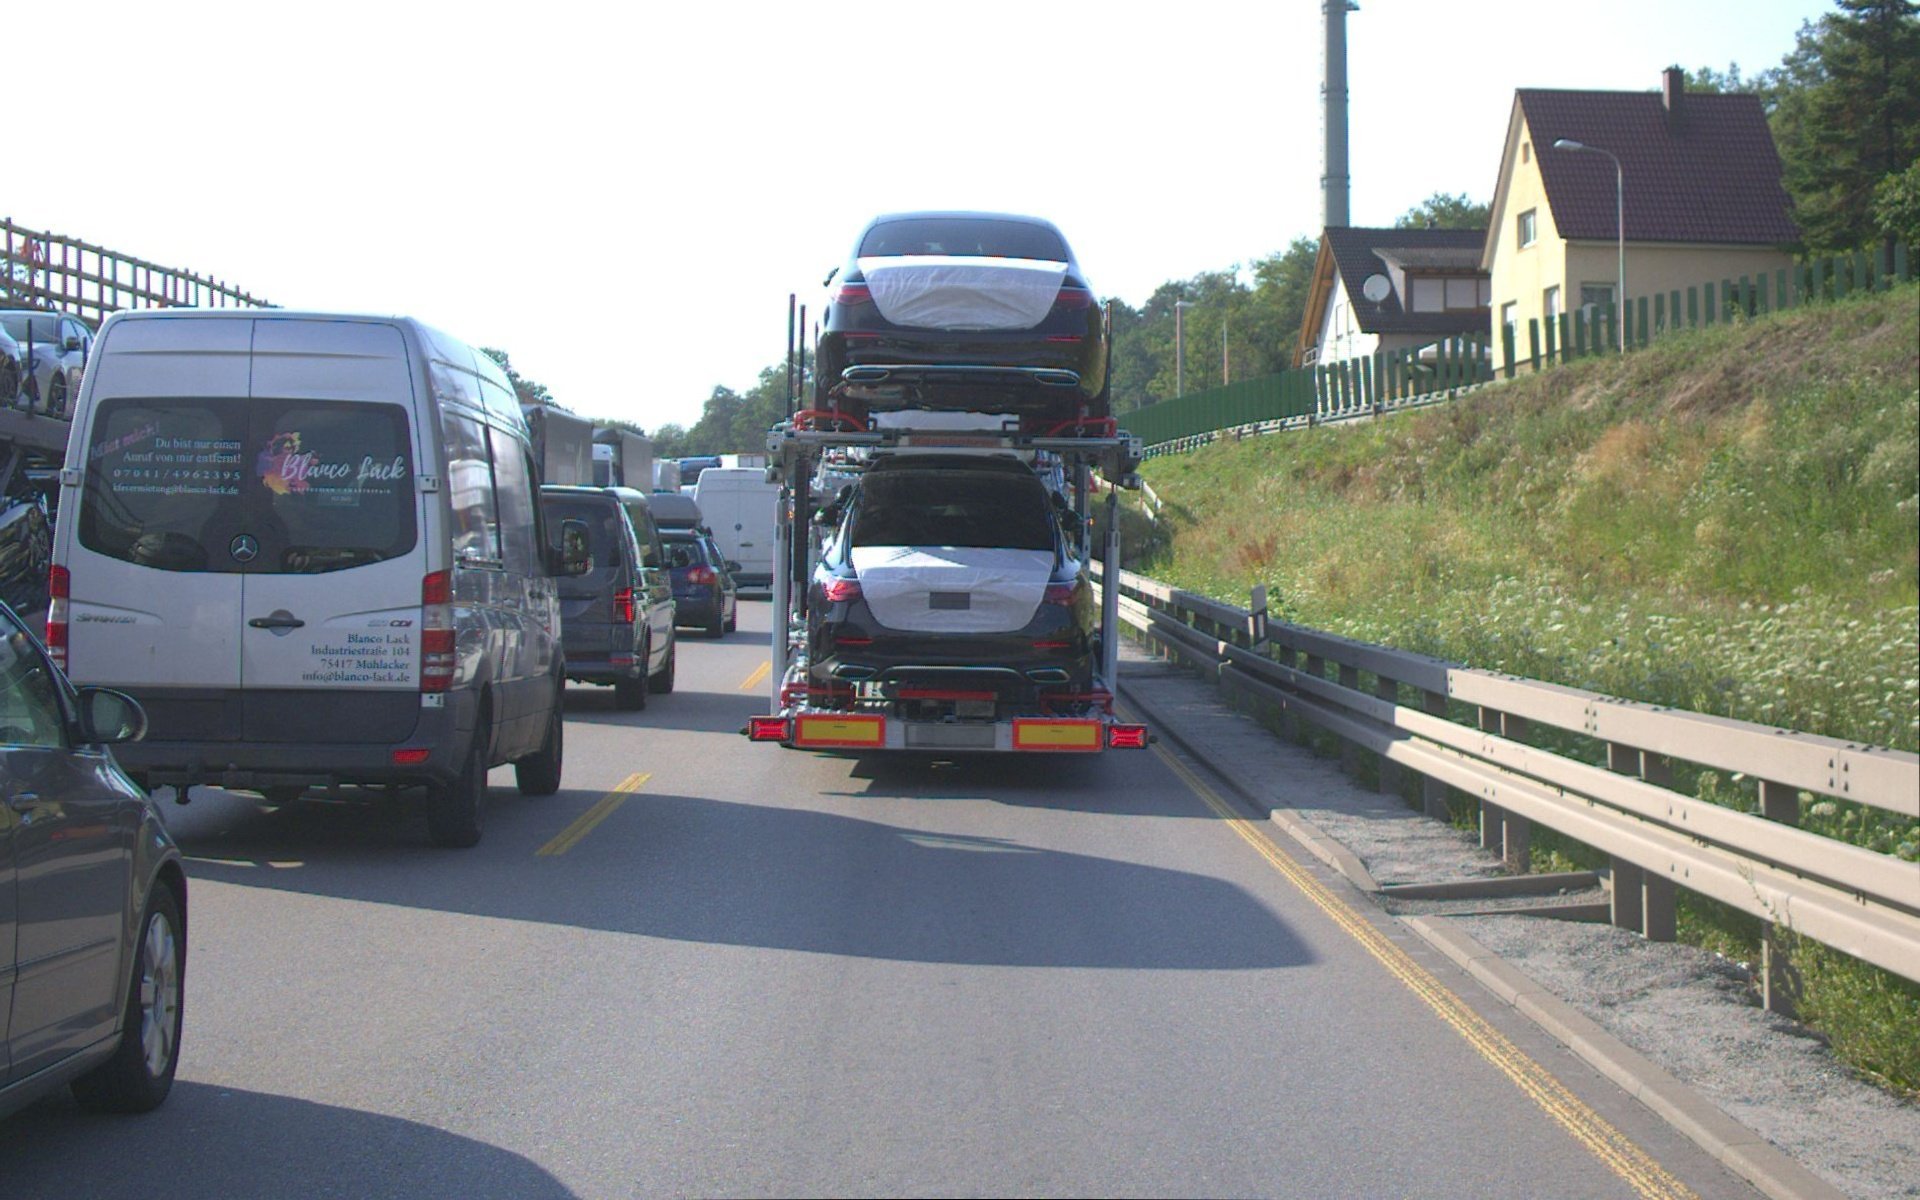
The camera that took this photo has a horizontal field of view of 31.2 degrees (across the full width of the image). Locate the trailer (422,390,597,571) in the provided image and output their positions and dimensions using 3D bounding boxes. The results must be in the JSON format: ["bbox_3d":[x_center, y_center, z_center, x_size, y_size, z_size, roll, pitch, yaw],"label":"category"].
[{"bbox_3d":[-11.179,-3.030,86.626,2.764,4.127,14.027,1,2,-1],"label":"trailer"}]

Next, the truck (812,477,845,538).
[{"bbox_3d":[-9.662,-6.751,251.816,2.197,4.411,8.233,0,1,-4],"label":"truck"}]

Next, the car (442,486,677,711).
[{"bbox_3d":[-3.613,-0.033,31.606,1.808,1.897,4.000,1,1,-2],"label":"car"}]

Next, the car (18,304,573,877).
[{"bbox_3d":[-3.371,-0.131,18.625,1.993,2.639,5.531,0,2,-1],"label":"car"}]

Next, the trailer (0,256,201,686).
[{"bbox_3d":[-10.377,-1.239,33.118,2.771,4.017,15.765,1,1,-1],"label":"trailer"}]

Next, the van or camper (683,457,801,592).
[{"bbox_3d":[-4.376,-1.511,69.605,1.968,2.582,5.042,1,1,1],"label":"van or camper"}]

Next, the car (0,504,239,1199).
[{"bbox_3d":[-2.889,0.579,7.778,1.680,1.583,4.272,0,0,-1],"label":"car"}]

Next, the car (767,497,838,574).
[{"bbox_3d":[-4.379,-1.812,96.088,1.885,2.092,3.766,1,1,-1],"label":"car"}]

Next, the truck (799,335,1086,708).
[{"bbox_3d":[-0.203,-0.814,36.543,2.682,3.522,7.194,1,1,-1],"label":"truck"}]

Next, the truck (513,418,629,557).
[{"bbox_3d":[-11.620,-3.318,103.112,2.860,3.994,5.658,1,1,-1],"label":"truck"}]

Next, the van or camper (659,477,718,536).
[{"bbox_3d":[-12.475,-4.317,158.343,2.312,2.653,6.456,-1,2,-1],"label":"van or camper"}]

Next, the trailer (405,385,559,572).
[{"bbox_3d":[-11.044,-2.820,79.895,2.764,4.127,5.977,1,2,-1],"label":"trailer"}]

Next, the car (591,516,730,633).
[{"bbox_3d":[-4.179,-0.393,48.392,1.725,1.517,3.974,1,2,-2],"label":"car"}]

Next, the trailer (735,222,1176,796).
[{"bbox_3d":[-0.110,-0.701,29.082,2.682,3.522,15.290,1,1,-1],"label":"trailer"}]

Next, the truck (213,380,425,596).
[{"bbox_3d":[-10.683,-1.825,57.736,2.548,3.397,5.532,1,1,-1],"label":"truck"}]

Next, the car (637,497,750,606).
[{"bbox_3d":[-6.329,-1.175,82.012,2.471,2.525,4.000,0,1,-1],"label":"car"}]

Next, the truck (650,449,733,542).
[{"bbox_3d":[-10.402,-4.025,133.726,2.714,3.412,8.142,-2,1,-2],"label":"truck"}]
